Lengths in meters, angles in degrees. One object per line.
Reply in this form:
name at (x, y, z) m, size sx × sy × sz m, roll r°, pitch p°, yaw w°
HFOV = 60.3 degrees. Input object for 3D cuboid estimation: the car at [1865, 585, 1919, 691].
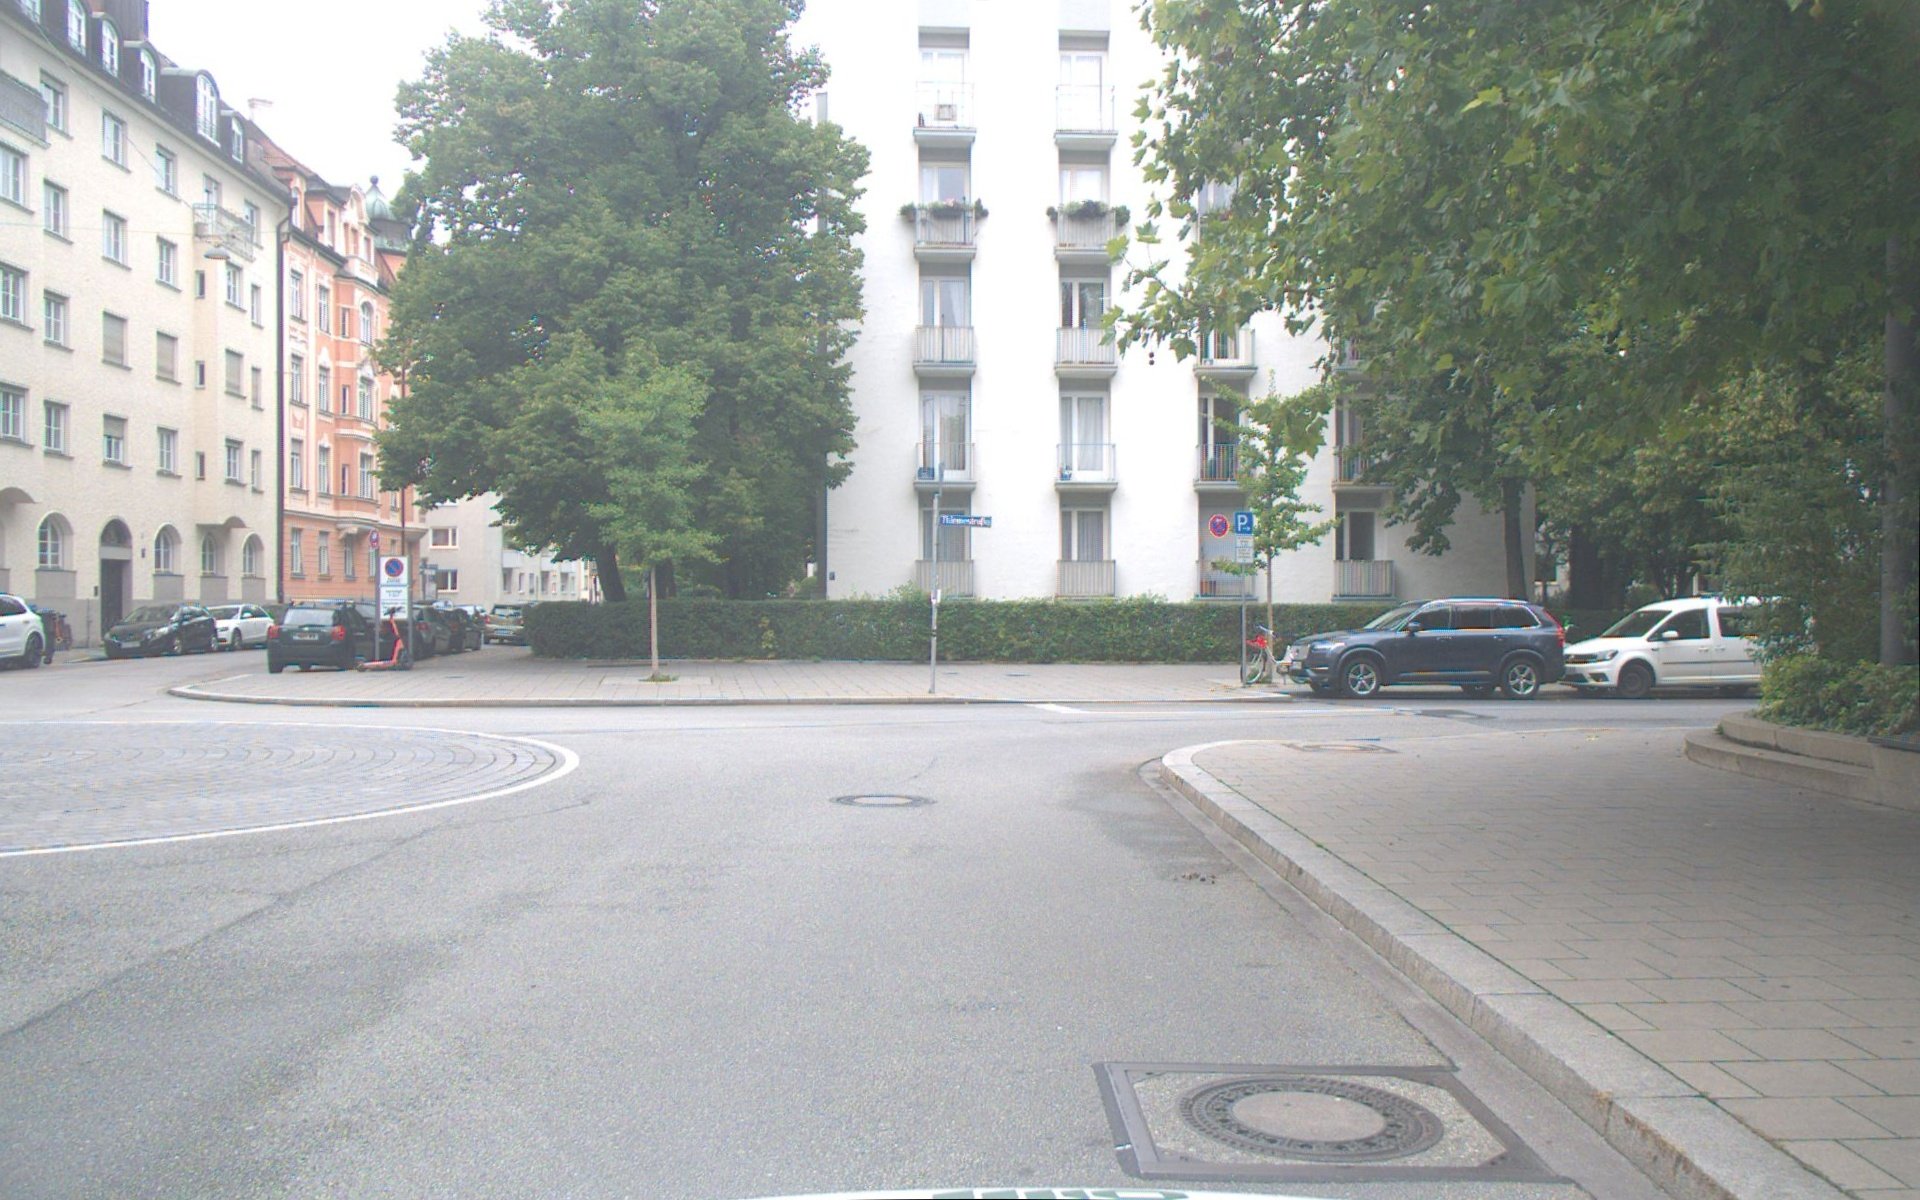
car at (20.180, 0.713, 31.609) m, size 5.100 × 1.967 × 1.887 m, roll 0°, pitch -1°, yaw -13°

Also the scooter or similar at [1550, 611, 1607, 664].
scooter or similar at (14.463, 0.873, 38.679) m, size 1.188 × 1.214 × 0.399 m, roll 0°, pitch 0°, yaw -5°

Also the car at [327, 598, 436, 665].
car at (-14.431, 0.752, 41.457) m, size 1.760 × 1.531 × 4.226 m, roll -1°, pitch 0°, yaw -8°

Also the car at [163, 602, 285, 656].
car at (-22.750, 0.867, 51.329) m, size 1.936 × 1.608 × 4.406 m, roll 0°, pitch 0°, yaw -2°

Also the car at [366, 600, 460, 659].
car at (-15.153, 0.784, 45.985) m, size 1.760 × 1.531 × 4.107 m, roll -1°, pitch 0°, yaw -8°

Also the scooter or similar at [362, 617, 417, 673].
scooter or similar at (-11.599, 0.908, 33.640) m, size 0.989 × 1.107 × 0.386 m, roll 0°, pitch 0°, yaw -31°

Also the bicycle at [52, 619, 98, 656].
bicycle at (-26.827, 1.127, 50.164) m, size 0.552 × 1.067 × 1.829 m, roll 0°, pitch 0°, yaw -4°

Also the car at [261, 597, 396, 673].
car at (-13.746, 0.721, 36.246) m, size 1.785 × 1.531 × 4.414 m, roll -1°, pitch 0°, yaw -8°

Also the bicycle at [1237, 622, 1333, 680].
bicycle at (6.273, 0.976, 31.927) m, size 1.794 × 1.067 × 0.490 m, roll 0°, pitch 0°, yaw -15°

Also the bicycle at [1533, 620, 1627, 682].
bicycle at (12.178, 0.981, 32.542) m, size 0.530 × 1.169 × 1.811 m, roll 0°, pitch 0°, yaw -30°

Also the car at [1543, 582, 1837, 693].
car at (13.422, 0.688, 30.526) m, size 4.744 × 1.952 × 1.831 m, roll 0°, pitch -1°, yaw -9°

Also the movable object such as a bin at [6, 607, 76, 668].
movable object such as a bin at (-22.438, 0.906, 40.420) m, size 1.069 × 1.450 × 1.173 m, roll 0°, pitch 0°, yaw -2°

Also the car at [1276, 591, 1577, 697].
car at (8.300, 0.775, 29.632) m, size 4.805 × 1.823 × 1.996 m, roll 0°, pitch -1°, yaw -8°

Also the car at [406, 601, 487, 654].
car at (-16.004, 0.827, 51.707) m, size 1.760 × 1.531 × 4.107 m, roll -1°, pitch 0°, yaw -8°

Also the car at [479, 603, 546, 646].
car at (-16.942, 0.911, 62.774) m, size 1.800 × 1.531 × 4.109 m, roll -1°, pitch 0°, yaw -6°

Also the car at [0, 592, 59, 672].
car at (-21.741, 0.679, 35.923) m, size 1.936 × 1.730 × 4.836 m, roll 0°, pitch 0°, yaw -4°

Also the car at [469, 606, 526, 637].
car at (-24.878, 1.153, 89.061) m, size 1.935 × 1.608 × 4.406 m, roll 0°, pitch 0°, yaw -2°

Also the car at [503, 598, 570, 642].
car at (-17.215, 0.782, 67.377) m, size 1.798 × 1.663 × 4.113 m, roll -1°, pitch 0°, yaw -3°

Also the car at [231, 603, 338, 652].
car at (-22.996, 0.909, 56.489) m, size 1.936 × 1.608 × 4.406 m, roll 0°, pitch 0°, yaw -2°

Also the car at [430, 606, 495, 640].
car at (-24.479, 1.092, 81.526) m, size 1.935 × 1.608 × 4.406 m, roll 0°, pitch 0°, yaw -2°

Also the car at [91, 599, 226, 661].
car at (-22.424, 0.811, 46.459) m, size 1.938 × 1.644 × 4.706 m, roll 0°, pitch 0°, yaw -7°
